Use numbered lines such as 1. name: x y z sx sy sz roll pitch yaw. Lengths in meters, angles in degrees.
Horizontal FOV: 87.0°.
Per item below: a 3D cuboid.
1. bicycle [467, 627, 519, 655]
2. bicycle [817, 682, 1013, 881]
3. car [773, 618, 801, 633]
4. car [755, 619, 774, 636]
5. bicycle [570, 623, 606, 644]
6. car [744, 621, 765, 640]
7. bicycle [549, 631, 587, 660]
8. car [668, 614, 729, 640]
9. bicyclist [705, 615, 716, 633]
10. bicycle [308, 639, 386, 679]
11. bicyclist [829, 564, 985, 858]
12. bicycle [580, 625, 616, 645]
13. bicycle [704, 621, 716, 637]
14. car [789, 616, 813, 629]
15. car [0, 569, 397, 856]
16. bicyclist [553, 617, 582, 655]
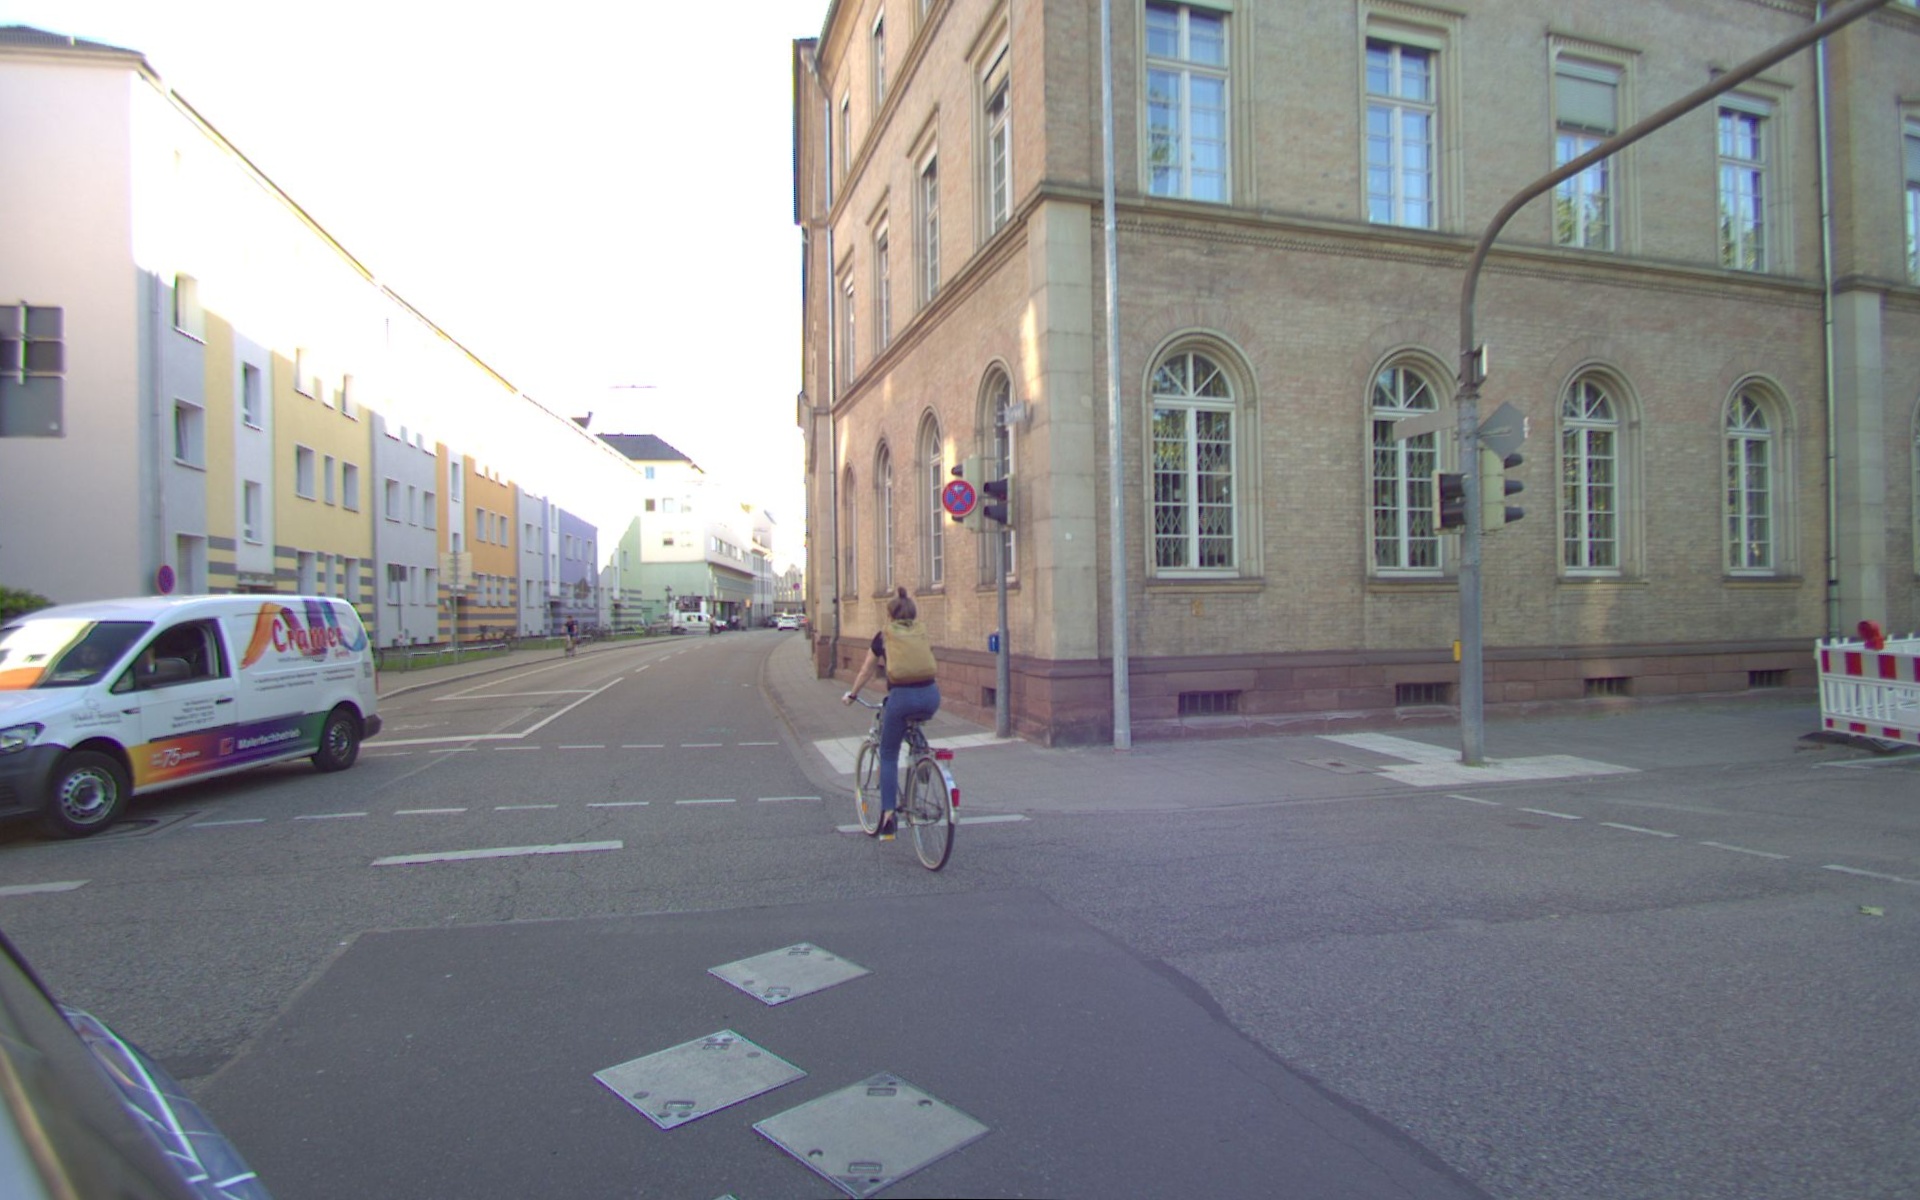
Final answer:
1. bicycle: -19.104 1.653 41.447 1.843 1.077 0.713 -1 0 -18
2. bicycle: -0.349 1.030 6.268 0.487 0.931 1.827 -1 -1 -27
3. car: -15.838 2.324 92.689 2.075 1.350 4.711 -1 -1 -4
4. car: -23.930 3.339 123.733 1.969 2.029 4.006 -1 -1 -7
5. bicycle: -20.581 1.861 56.023 1.843 1.077 0.713 -1 0 -18
6. car: -22.630 3.341 111.699 1.969 2.029 4.006 -1 -1 -7
7. bicycle: -14.978 1.745 38.702 0.778 1.006 1.994 -3 -3 -5
8. car: -21.800 2.261 84.418 4.635 2.029 2.002 -1 -1 -5
9. bicyclist: -18.239 1.758 73.957 0.667 1.269 0.823 -1 -1 -8
10. bicycle: -16.548 1.587 27.356 1.728 1.000 0.542 0 -1 -21
11. bicyclist: -0.349 0.629 6.249 0.634 1.659 0.857 -1 -1 -27
12. bicycle: -20.697 1.999 57.858 1.843 1.077 0.713 -1 0 -26
13. bicycle: -18.240 2.104 73.953 0.667 1.119 1.799 -1 -1 -8
14. car: -17.041 2.426 108.642 2.075 1.350 4.711 -1 -1 -4
15. car: -7.206 0.769 8.753 1.971 1.830 5.127 -1 -1 -2
16. bicyclist: -14.995 1.374 38.696 0.780 1.383 0.839 -3 -3 -5
